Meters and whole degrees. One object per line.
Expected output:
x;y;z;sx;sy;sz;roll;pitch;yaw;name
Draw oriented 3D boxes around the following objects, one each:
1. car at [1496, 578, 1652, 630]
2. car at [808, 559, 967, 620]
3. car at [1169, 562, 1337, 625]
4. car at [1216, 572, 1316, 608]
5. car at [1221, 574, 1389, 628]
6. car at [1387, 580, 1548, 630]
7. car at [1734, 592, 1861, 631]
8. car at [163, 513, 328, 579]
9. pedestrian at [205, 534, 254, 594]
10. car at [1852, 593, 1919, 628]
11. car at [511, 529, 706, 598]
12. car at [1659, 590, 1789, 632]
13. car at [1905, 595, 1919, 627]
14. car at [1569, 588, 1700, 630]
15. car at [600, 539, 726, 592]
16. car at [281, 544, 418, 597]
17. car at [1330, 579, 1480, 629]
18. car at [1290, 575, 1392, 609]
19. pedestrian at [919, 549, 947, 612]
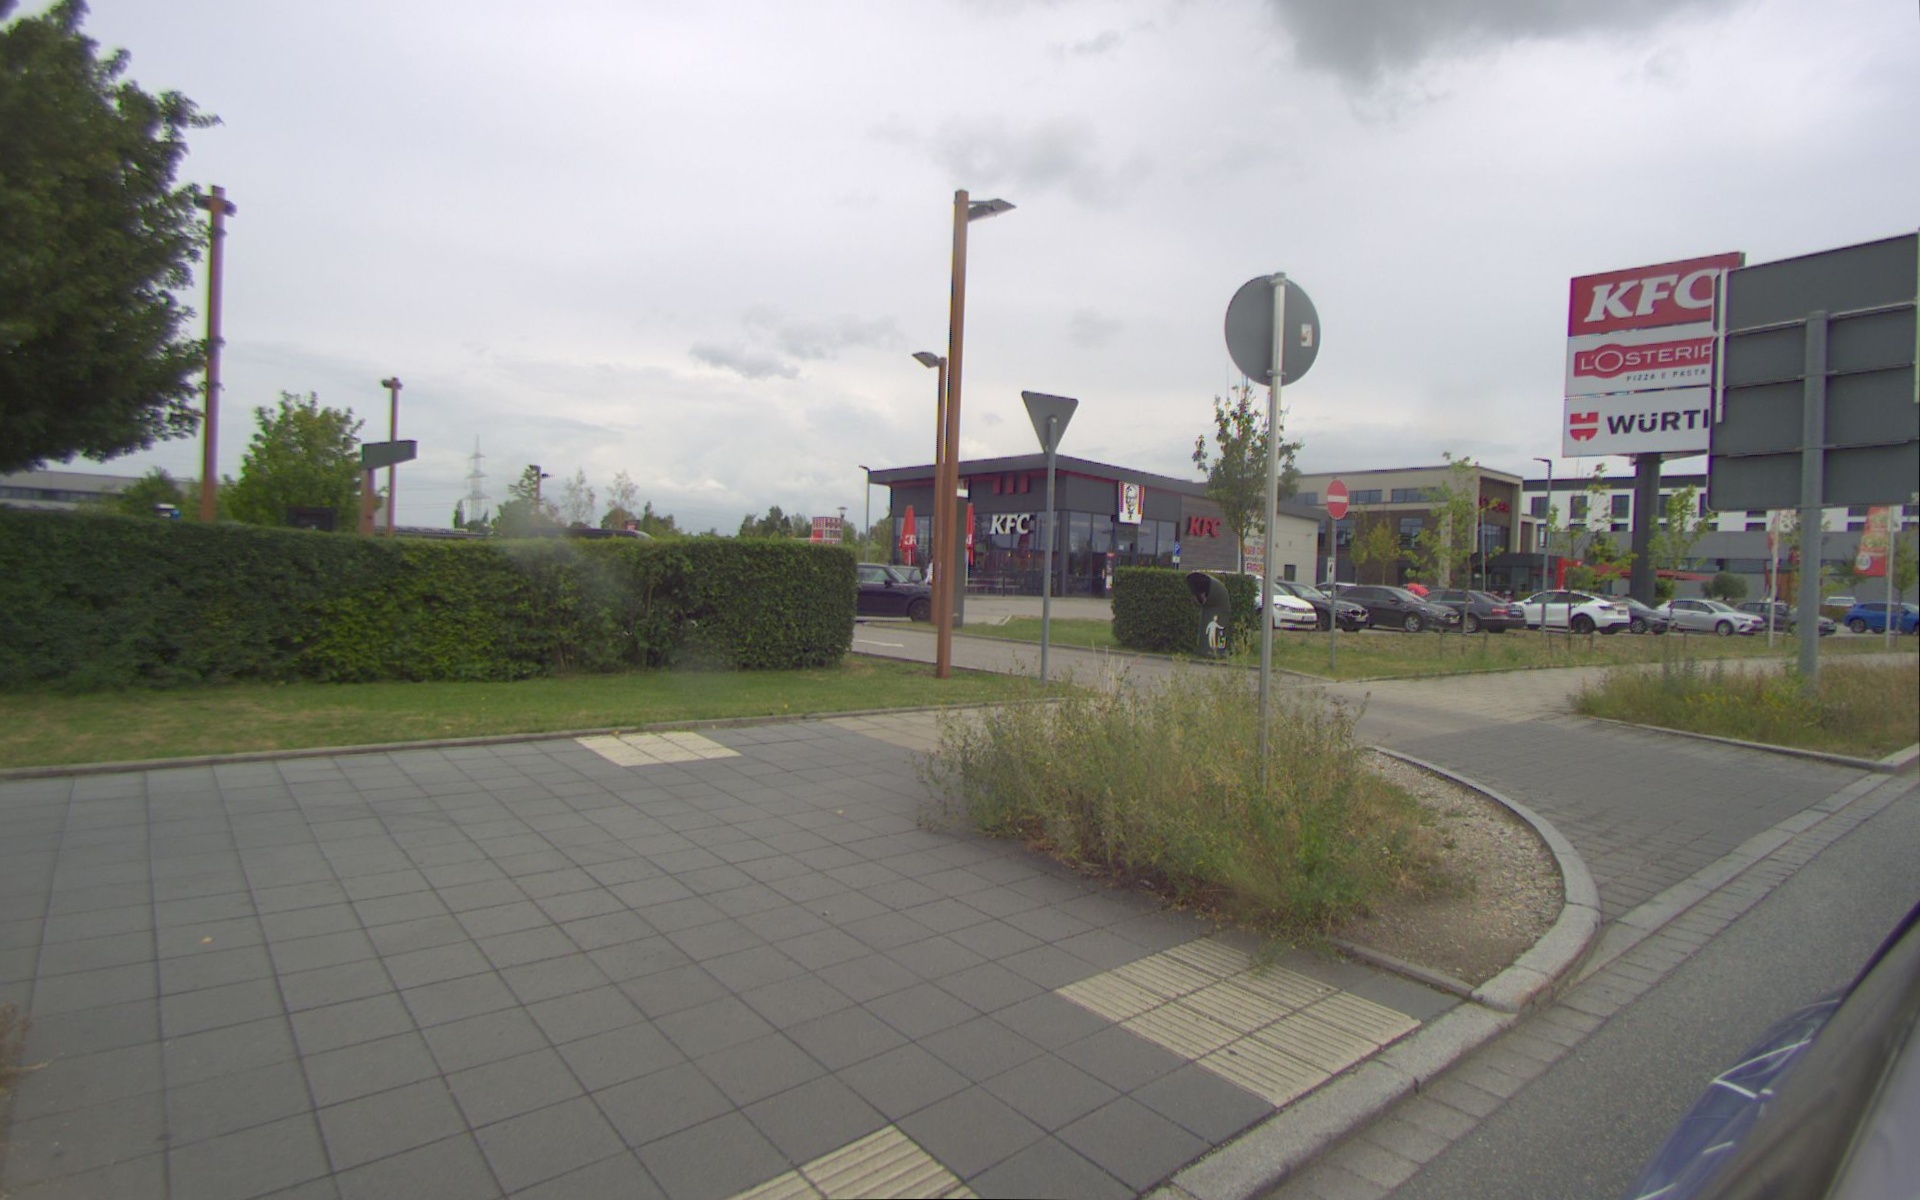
23.109;0.117;38.289;2.046;1.665;4.585;1;3;-28;car
-1.757;-0.267;25.192;3.775;1.329;1.818;2;1;-1;car
8.435;-0.224;29.438;1.902;1.660;4.359;1;1;-38;car
15.096;-0.519;50.093;2.011;1.537;4.375;1;3;-39;car
10.439;-0.011;30.885;2.035;1.454;4.482;1;1;-36;car
17.245;0.130;34.618;1.992;1.487;4.535;1;1;-33;car
36.332;0.471;44.002;1.850;1.512;3.779;1;1;-21;car
-30.663;-2.237;43.730;2.244;2.560;6.032;2;1;9;car
-18.159;-0.897;25.159;0.616;1.457;0.766;2;1;19;pedestrian
45.186;0.512;47.688;1.924;1.539;4.286;1;1;-19;car
-14.345;-1.486;41.531;7.192;2.533;2.281;2;1;2;car
31.901;0.435;42.396;1.862;1.499;3.883;1;3;-23;car
47.785;0.589;47.896;1.940;1.512;4.009;1;1;-16;car
27.259;0.320;41.049;1.900;1.503;4.009;0;2;-24;car
-14.575;-1.667;49.658;5.574;2.380;2.540;1;1;-26;car
-21.304;-1.040;35.569;1.962;1.677;4.734;2;1;0;car
14.600;0.098;33.390;1.906;1.456;4.099;1;2;-35;car
19.755;-0.460;52.663;2.042;1.537;4.575;1;3;-37;car
-0.796;-0.575;30.044;0.467;1.828;0.793;2;1;28;pedestrian
